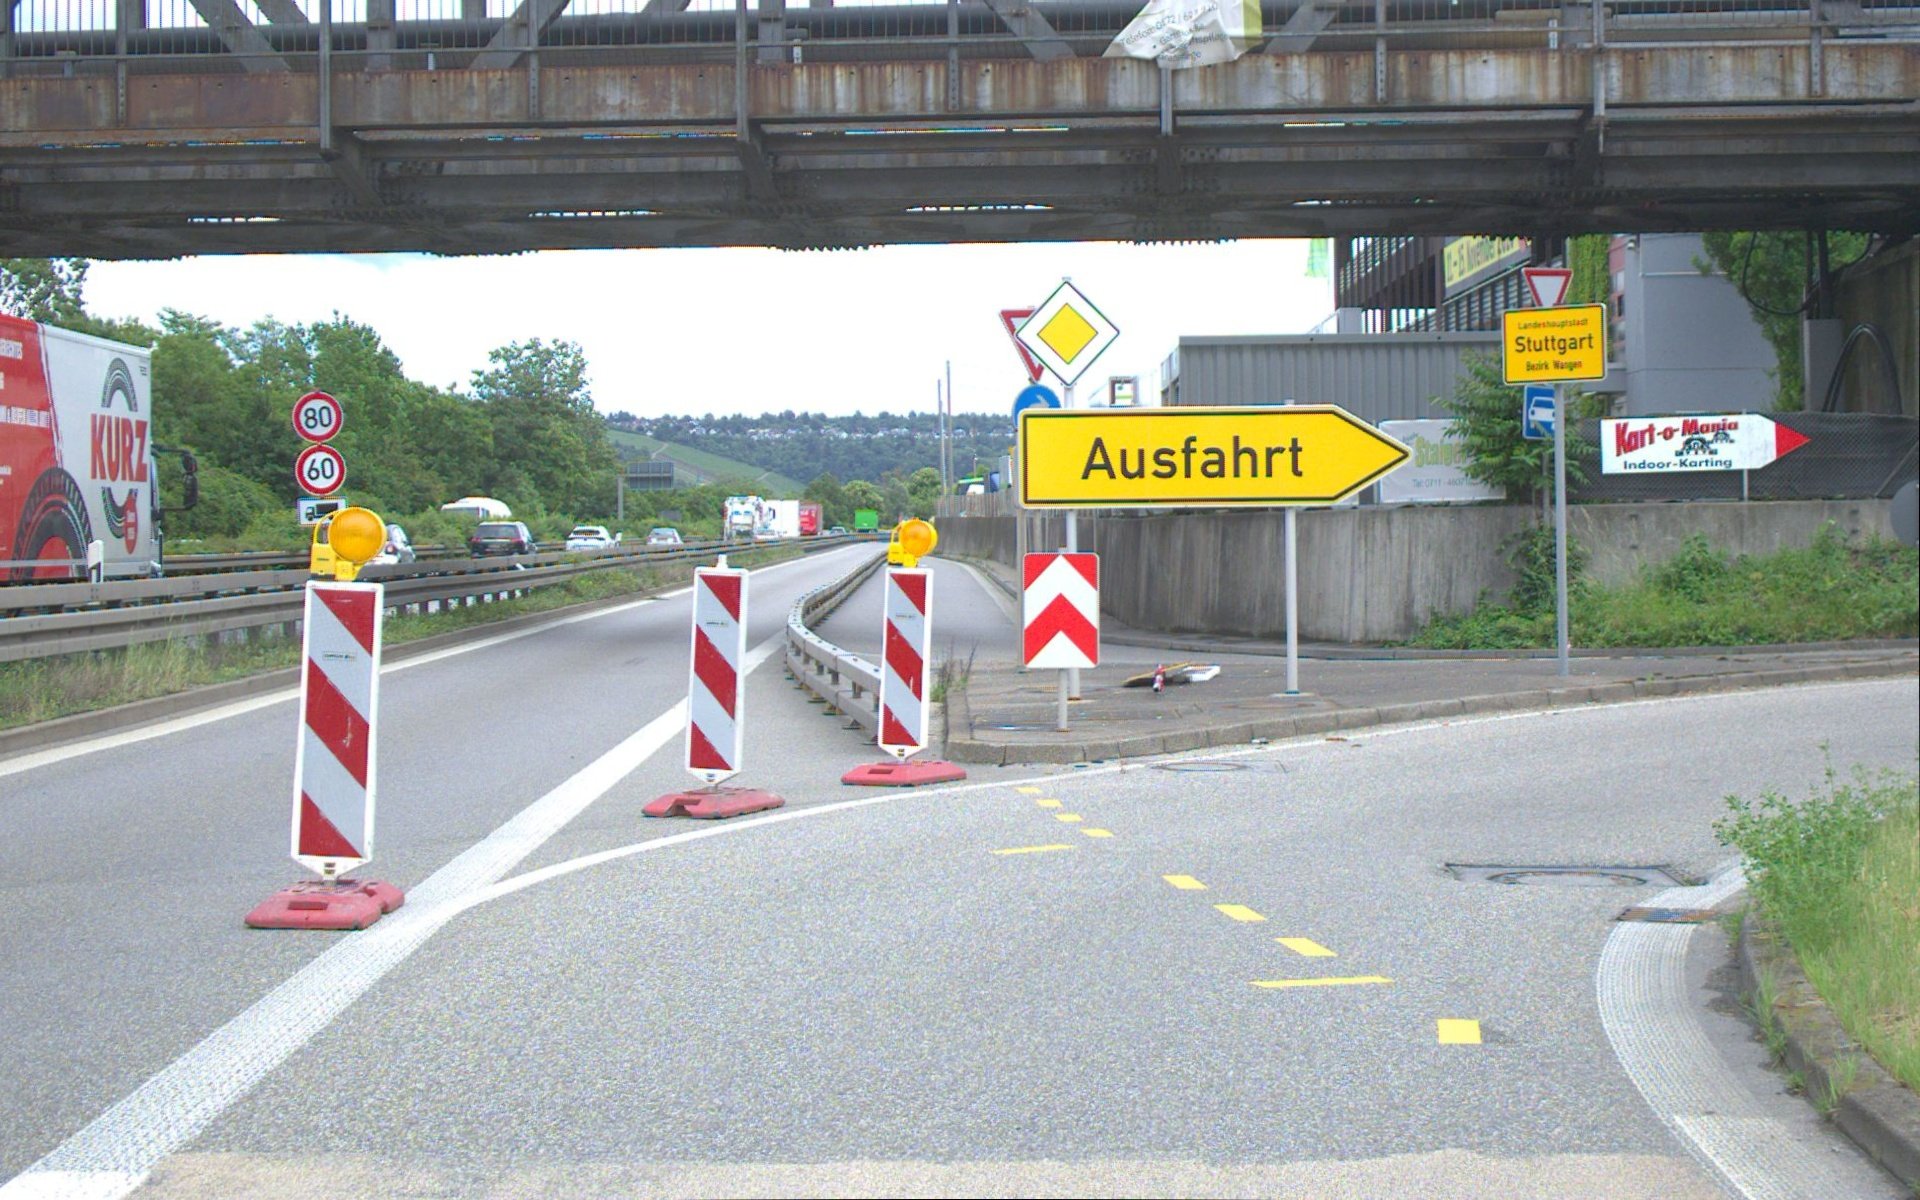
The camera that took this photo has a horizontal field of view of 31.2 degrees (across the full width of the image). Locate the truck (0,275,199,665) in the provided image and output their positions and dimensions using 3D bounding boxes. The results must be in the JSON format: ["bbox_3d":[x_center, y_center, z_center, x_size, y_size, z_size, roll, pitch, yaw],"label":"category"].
[{"bbox_3d":[-10.475,-1.281,36.061,2.953,3.617,10.155,0,1,-1],"label":"truck"}]

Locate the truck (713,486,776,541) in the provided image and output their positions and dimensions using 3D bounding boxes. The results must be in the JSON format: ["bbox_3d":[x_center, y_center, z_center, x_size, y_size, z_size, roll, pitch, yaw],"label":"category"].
[{"bbox_3d":[-14.344,-5.762,229.354,3.720,3.633,7.728,0,1,0],"label":"truck"}]

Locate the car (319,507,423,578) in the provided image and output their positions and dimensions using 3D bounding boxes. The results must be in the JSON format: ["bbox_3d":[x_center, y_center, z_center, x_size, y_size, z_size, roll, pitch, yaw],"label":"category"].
[{"bbox_3d":[-15.025,-1.468,87.898,1.993,1.753,4.000,-1,1,-1],"label":"car"}]

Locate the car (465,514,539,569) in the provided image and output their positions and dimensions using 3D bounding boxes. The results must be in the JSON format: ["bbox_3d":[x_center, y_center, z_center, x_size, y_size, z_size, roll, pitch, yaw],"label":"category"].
[{"bbox_3d":[-15.074,-1.932,113.389,1.993,1.753,4.000,-1,1,-2],"label":"car"}]

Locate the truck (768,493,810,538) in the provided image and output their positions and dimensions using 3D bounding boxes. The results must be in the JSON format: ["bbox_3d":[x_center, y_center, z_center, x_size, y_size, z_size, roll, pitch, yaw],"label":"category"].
[{"bbox_3d":[-12.335,-6.077,248.534,2.681,3.129,6.132,1,1,0],"label":"truck"}]

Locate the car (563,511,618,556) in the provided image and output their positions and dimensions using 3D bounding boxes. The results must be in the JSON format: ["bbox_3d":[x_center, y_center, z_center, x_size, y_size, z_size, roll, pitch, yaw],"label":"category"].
[{"bbox_3d":[-15.093,-2.733,140.642,1.993,1.809,4.001,0,1,-3],"label":"car"}]

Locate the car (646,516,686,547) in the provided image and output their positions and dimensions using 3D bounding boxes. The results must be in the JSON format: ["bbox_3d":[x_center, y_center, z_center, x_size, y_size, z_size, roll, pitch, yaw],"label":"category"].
[{"bbox_3d":[-15.409,-3.587,180.112,1.779,1.590,3.750,0,1,0],"label":"car"}]
